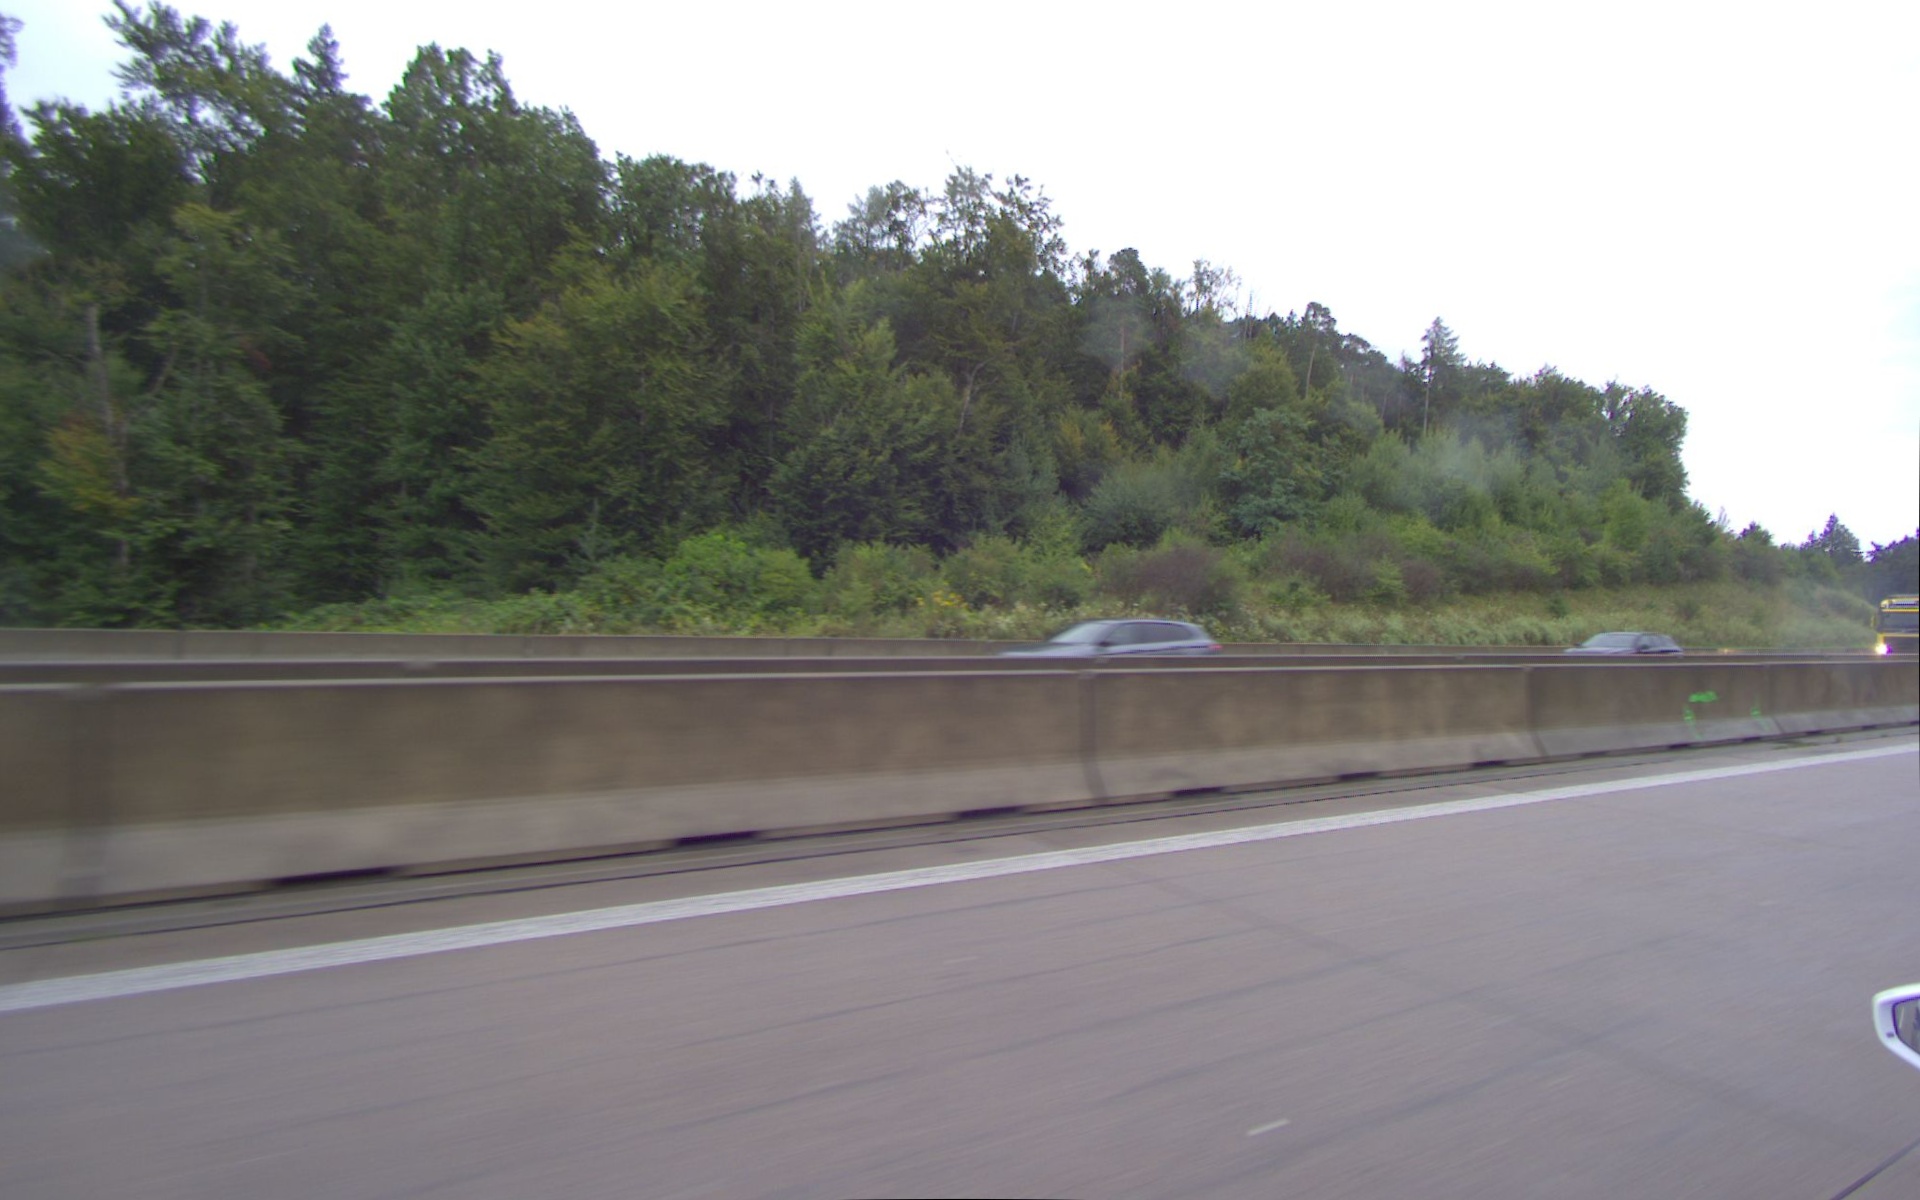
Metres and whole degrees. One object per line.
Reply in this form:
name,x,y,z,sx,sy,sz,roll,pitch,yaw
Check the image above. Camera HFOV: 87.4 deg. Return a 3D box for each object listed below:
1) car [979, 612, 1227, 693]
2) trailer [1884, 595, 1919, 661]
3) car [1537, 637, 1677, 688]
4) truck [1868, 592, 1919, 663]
car,2.756,0.966,19.041,4.510,1.351,1.793,2,0,-30
trailer,61.792,1.812,63.141,13.571,3.926,2.993,2,-1,-37
car,19.548,1.852,30.306,4.514,1.351,1.792,2,0,-32
truck,56.501,1.635,59.148,8.042,3.926,3.004,2,-1,-37
